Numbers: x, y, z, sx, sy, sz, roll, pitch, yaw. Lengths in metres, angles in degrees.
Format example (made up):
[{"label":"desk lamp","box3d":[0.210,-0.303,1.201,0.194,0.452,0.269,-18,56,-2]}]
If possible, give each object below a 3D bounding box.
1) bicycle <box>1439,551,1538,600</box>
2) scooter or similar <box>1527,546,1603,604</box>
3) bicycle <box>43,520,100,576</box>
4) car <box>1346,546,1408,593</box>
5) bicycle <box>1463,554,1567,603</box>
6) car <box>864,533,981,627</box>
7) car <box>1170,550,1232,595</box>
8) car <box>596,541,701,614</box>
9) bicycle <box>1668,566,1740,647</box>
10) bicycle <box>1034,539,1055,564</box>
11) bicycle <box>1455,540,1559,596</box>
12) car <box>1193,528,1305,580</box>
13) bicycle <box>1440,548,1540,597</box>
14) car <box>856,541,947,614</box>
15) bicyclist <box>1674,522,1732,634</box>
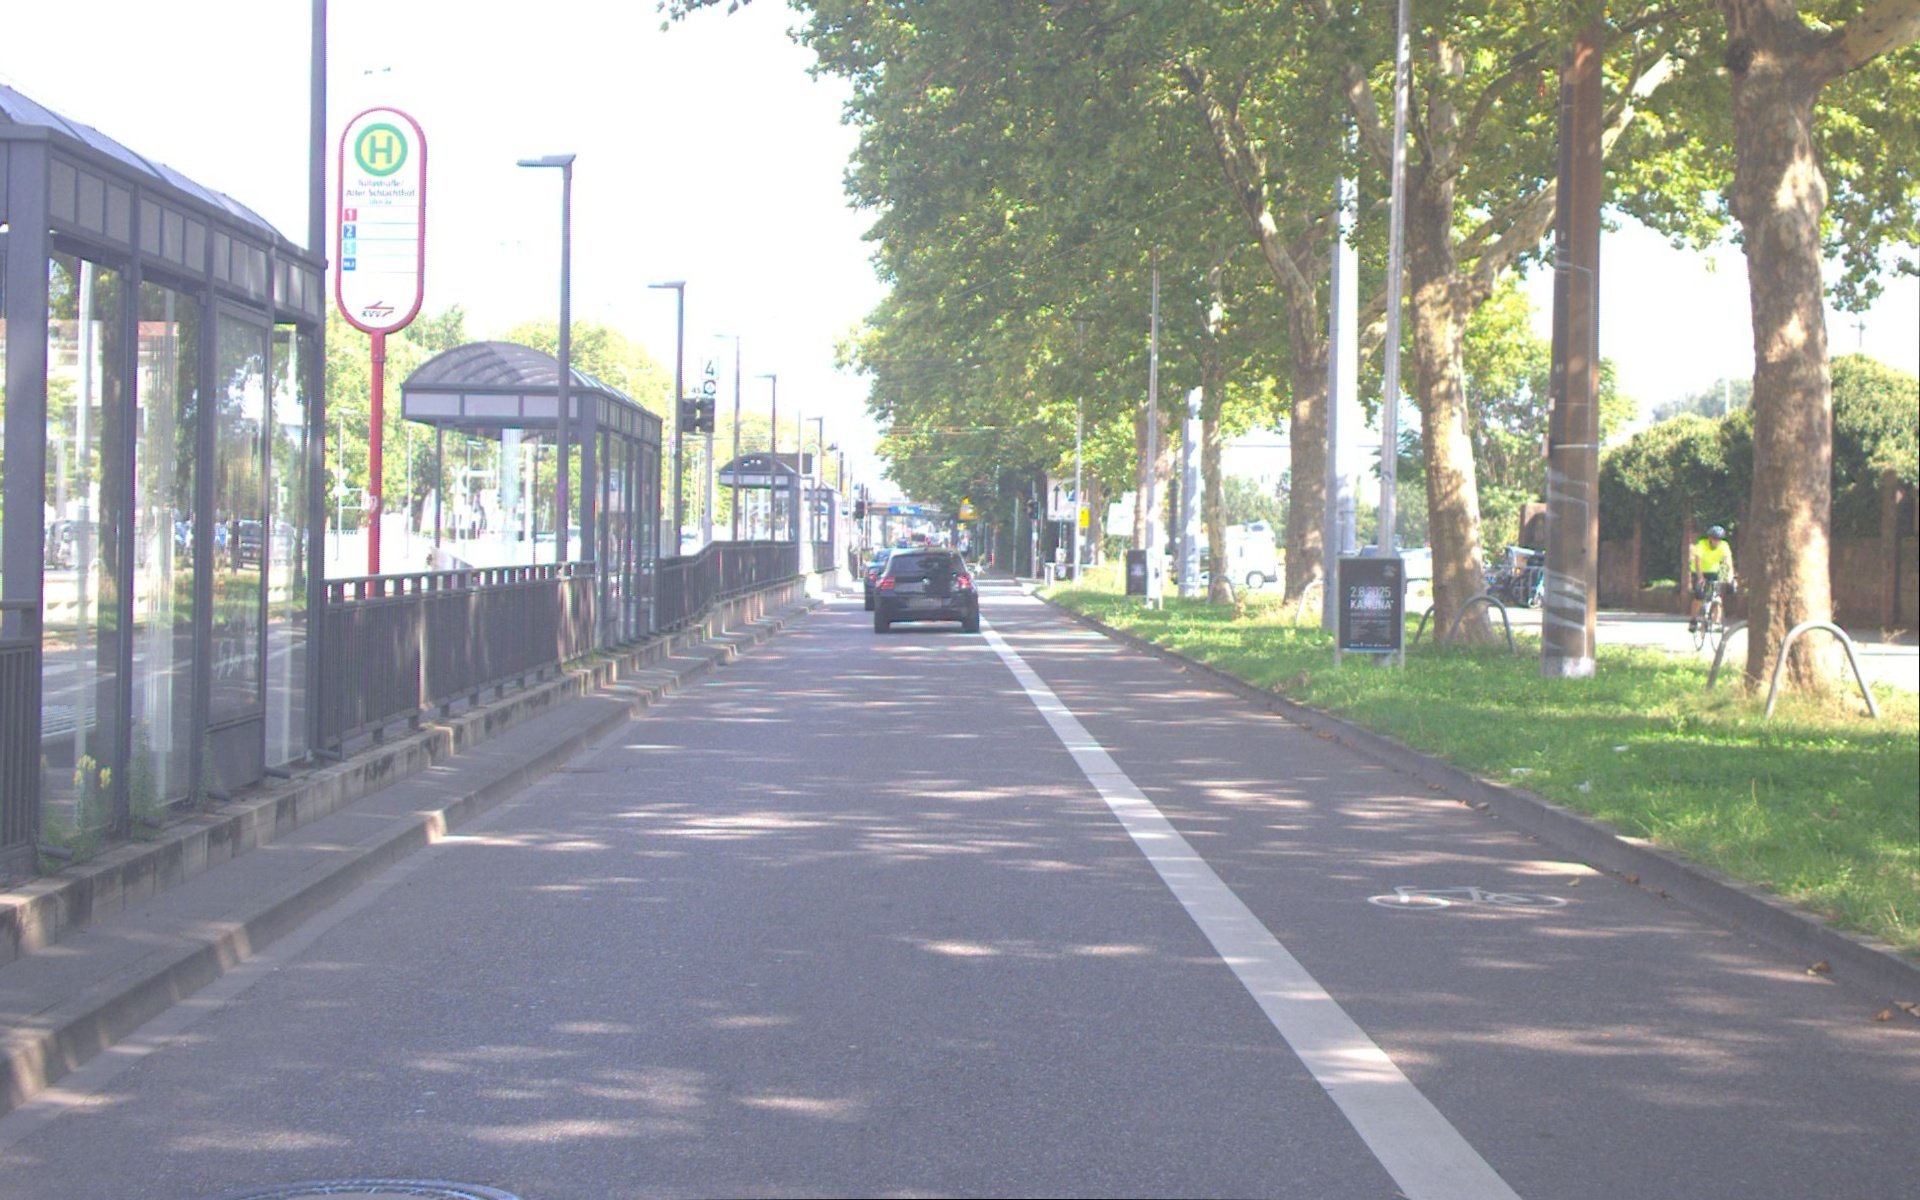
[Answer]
[{"label":"bicycle","box3d":[12.216,-0.561,79.574,2.173,1.073,0.743,-2,1,3]},{"label":"scooter or similar","box3d":[12.705,-0.530,72.172,1.506,1.187,0.538,-1,0,4]},{"label":"bicycle","box3d":[-18.542,-1.073,71.746,0.471,1.143,1.483,1,1,14]},{"label":"car","box3d":[14.170,-1.044,116.899,1.607,1.570,3.797,0,1,0]},{"label":"bicycle","box3d":[12.347,-0.485,76.549,2.173,1.073,0.743,1,1,-2]},{"label":"car","box3d":[-0.668,-0.362,59.070,1.907,1.532,4.000,-1,1,-1]},{"label":"car","box3d":[8.078,-0.934,115.687,1.728,1.443,4.551,0,1,0]},{"label":"car","box3d":[-7.083,-0.537,78.519,1.993,1.554,4.000,-1,1,0]},{"label":"bicycle","box3d":[9.713,0.075,44.920,0.548,1.003,1.713,1,1,0]},{"label":"bicycle","box3d":[3.551,-2.047,144.503,0.610,1.018,2.403,1,1,-5]},{"label":"bicycle","box3d":[12.891,-0.750,81.073,2.244,1.272,0.999,-1,0,-1]},{"label":"car","box3d":[10.830,-1.731,129.024,4.103,1.912,1.847,-1,1,3]},{"label":"bicycle","box3d":[12.129,-0.636,78.757,2.173,1.073,0.743,-1,1,3]},{"label":"car","box3d":[-1.351,-0.536,78.607,1.973,1.532,4.000,-3,1,-1]},{"label":"bicyclist","box3d":[9.720,-0.299,44.979,0.548,1.448,0.842,1,1,0]}]
